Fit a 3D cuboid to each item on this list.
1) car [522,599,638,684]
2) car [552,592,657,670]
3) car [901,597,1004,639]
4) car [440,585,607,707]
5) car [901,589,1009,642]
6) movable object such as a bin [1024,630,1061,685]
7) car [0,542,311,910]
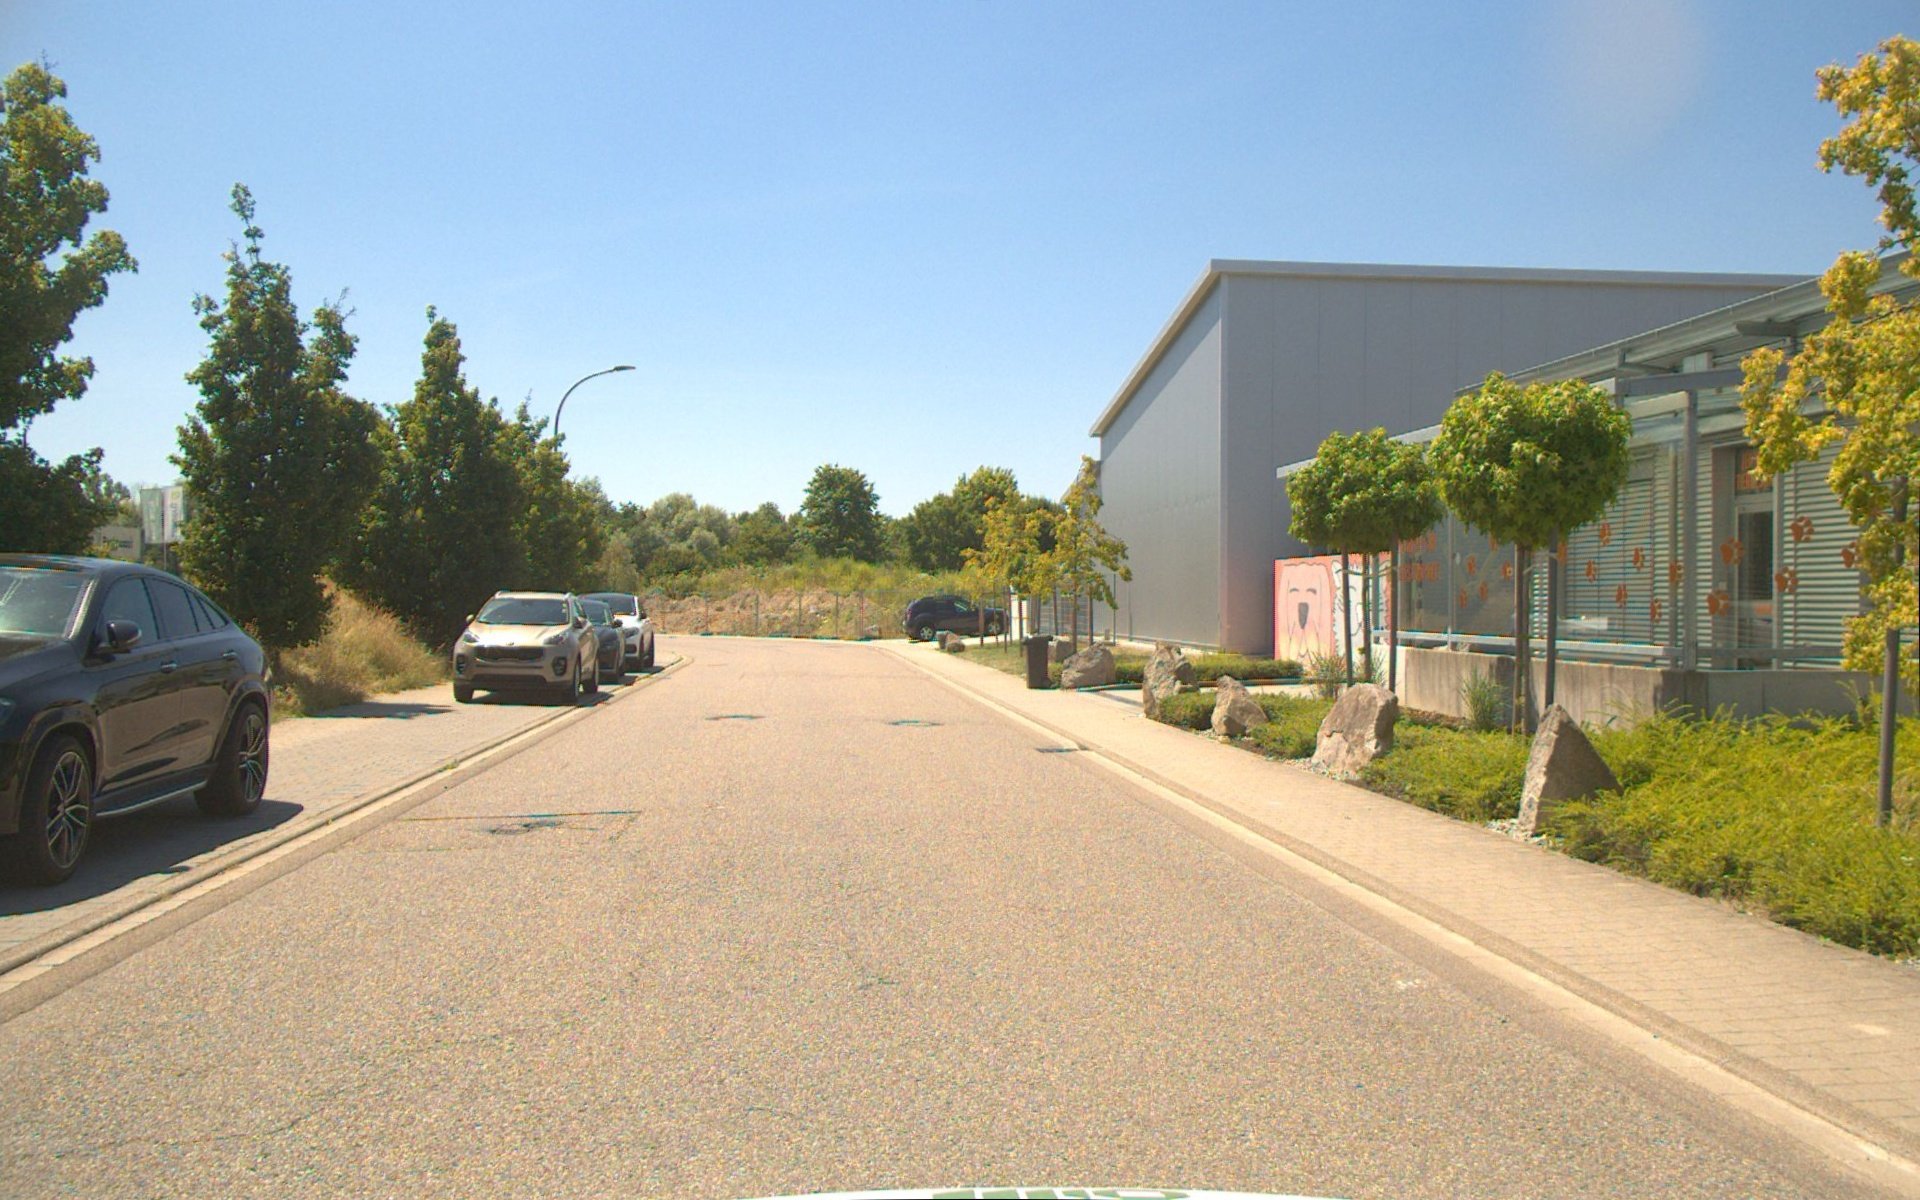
[{"bbox_3d":[-7.495,0.779,32.952,1.877,1.518,4.404,1,0,-9],"label":"car"},{"bbox_3d":[-8.198,0.679,38.545,1.876,1.684,4.748,-1,0,-6],"label":"car"},{"bbox_3d":[-0.341,0.722,66.945,3.934,1.487,1.890,-3,0,-7],"label":"car"},{"bbox_3d":[-6.852,0.662,26.413,1.876,1.743,4.407,1,0,-6],"label":"car"},{"bbox_3d":[-0.223,0.593,64.309,3.934,1.684,1.855,-5,0,-7],"label":"car"},{"bbox_3d":[1.478,1.030,29.678,0.548,0.963,0.538,-1,0,-7],"label":"movable object such as a bin"},{"bbox_3d":[-5.720,0.560,10.070,1.953,1.743,5.001,1,0,-6],"label":"car"}]
